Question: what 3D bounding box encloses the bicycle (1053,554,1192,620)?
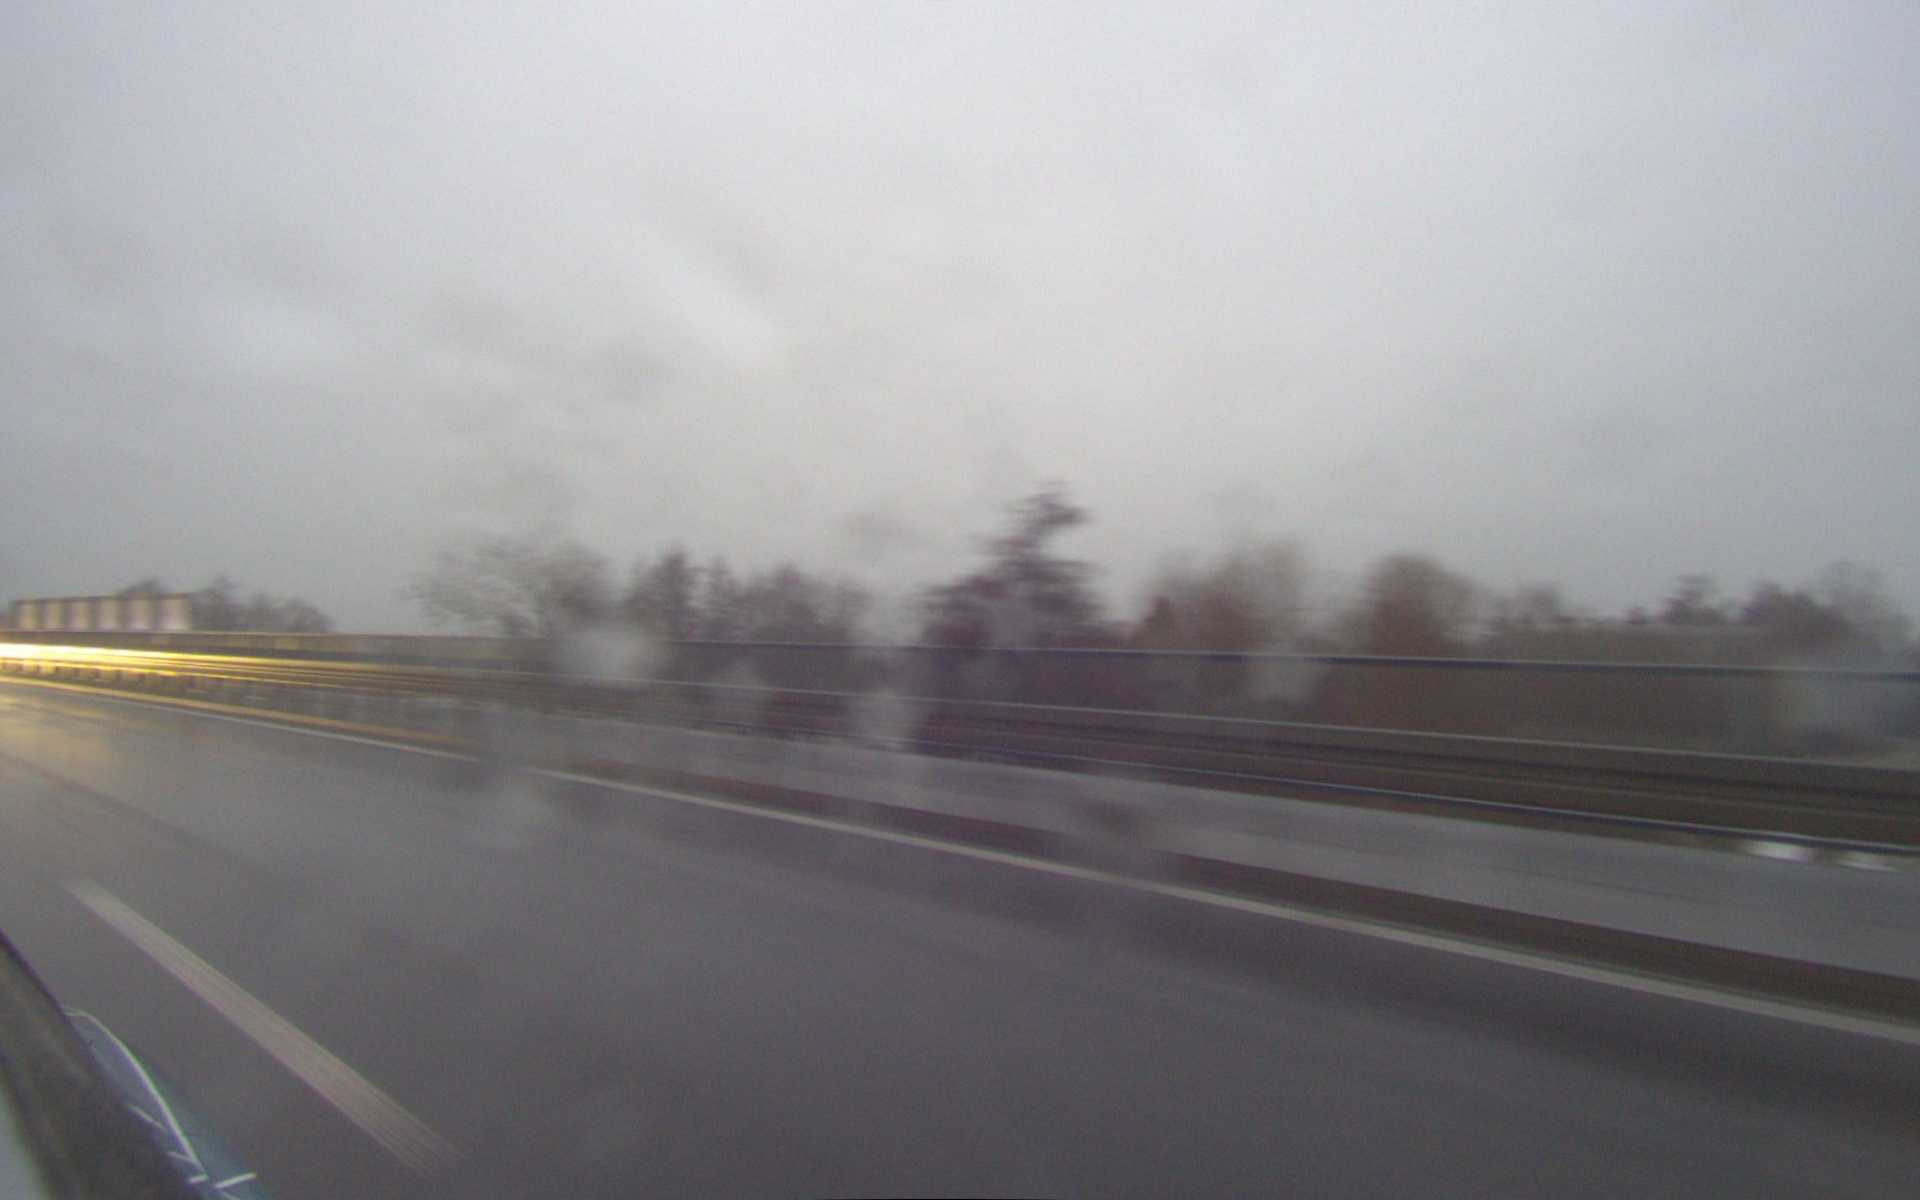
[{"bbox_3d":[5.234,-0.385,32.683,3.989,2.029,1.977,-1,0,34],"label":"bicycle"}]
